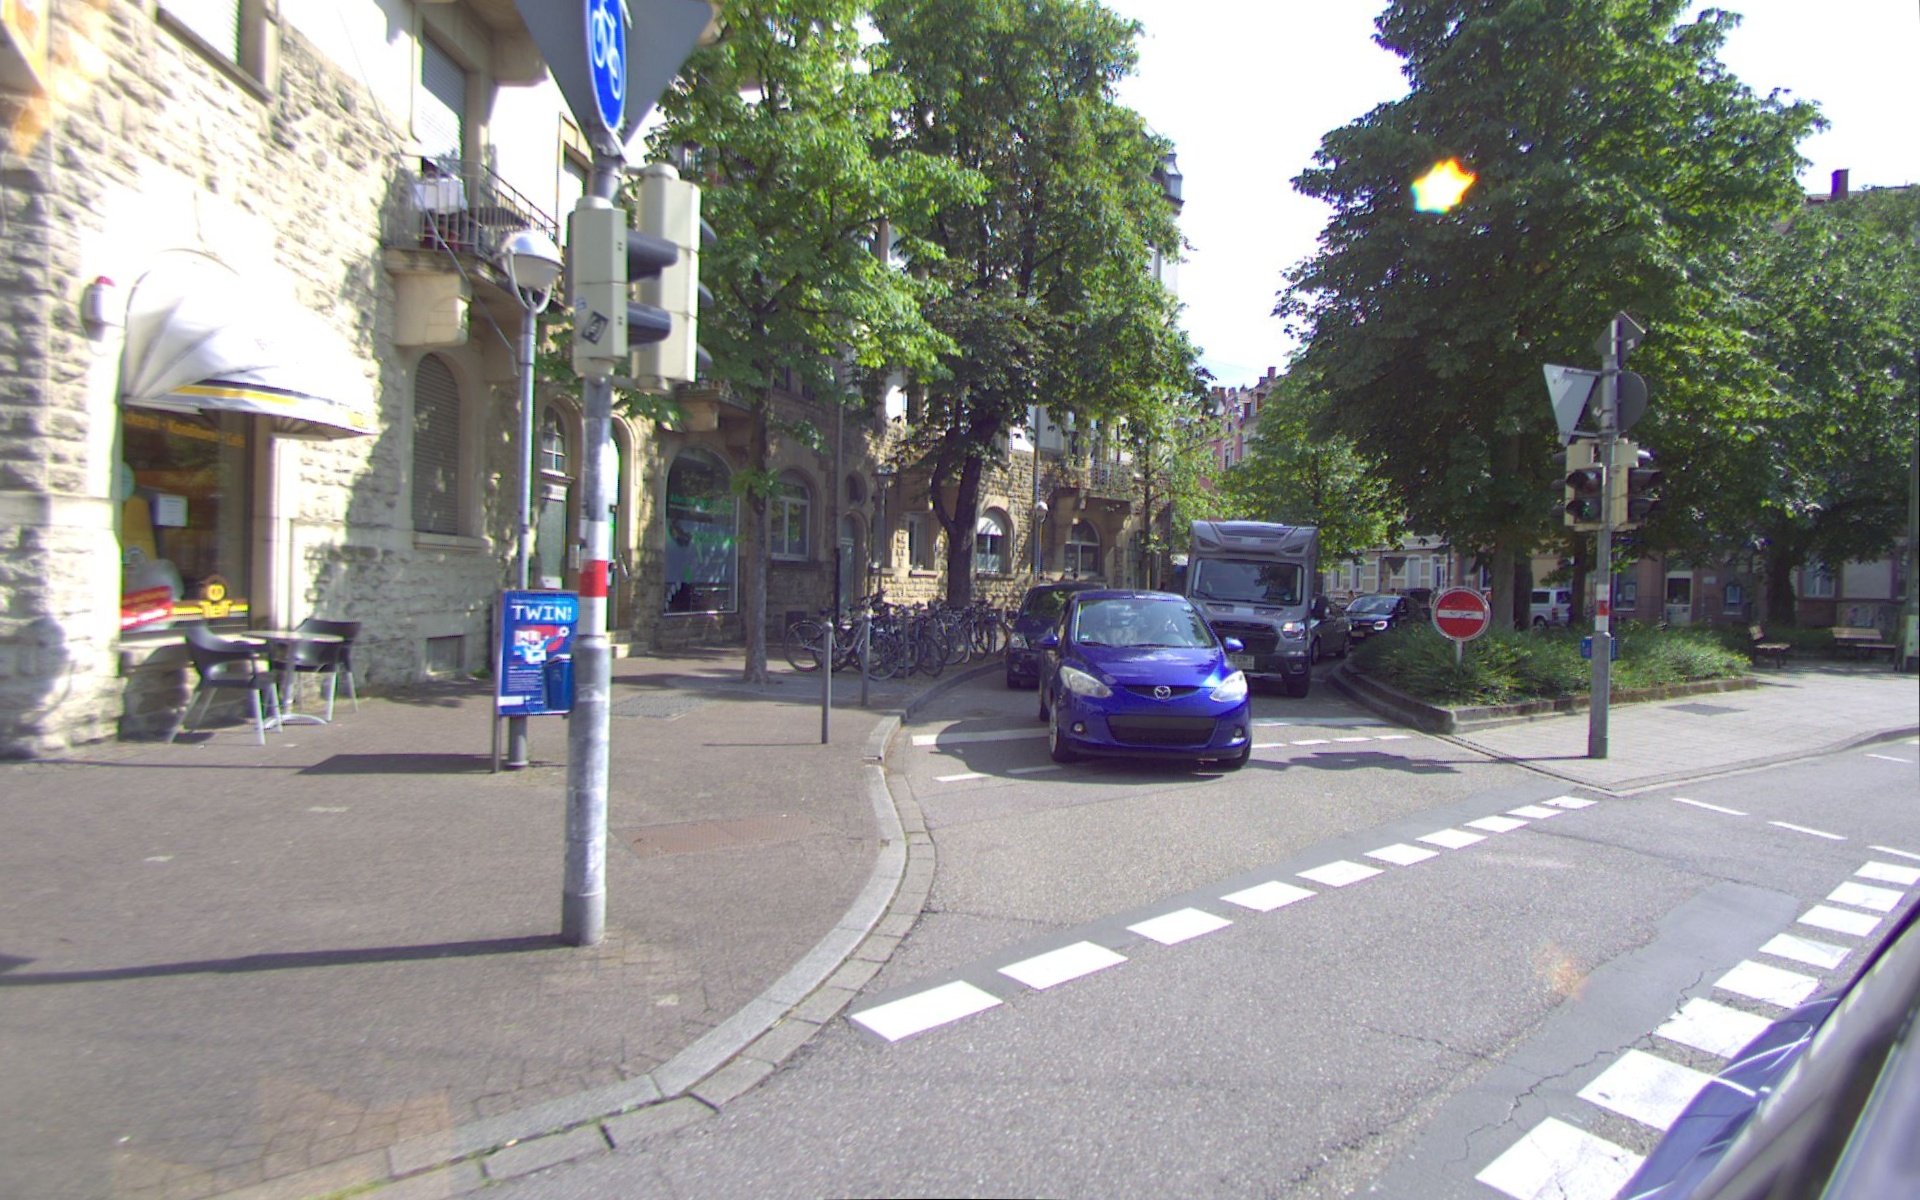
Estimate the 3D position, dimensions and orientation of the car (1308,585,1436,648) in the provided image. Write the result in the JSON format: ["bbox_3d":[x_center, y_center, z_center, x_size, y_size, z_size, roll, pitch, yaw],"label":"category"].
[{"bbox_3d":[11.116,0.408,27.160,1.842,1.519,4.120,2,1,43],"label":"car"}]

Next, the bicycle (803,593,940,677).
[{"bbox_3d":[-1.299,0.510,14.997,1.936,1.155,0.588,2,-1,2],"label":"bicycle"}]

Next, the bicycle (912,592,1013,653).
[{"bbox_3d":[0.052,0.435,20.049,1.936,1.130,0.588,2,-1,2],"label":"bicycle"}]

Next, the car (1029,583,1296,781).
[{"bbox_3d":[1.670,0.587,9.704,1.857,1.436,3.998,2,1,2],"label":"car"}]

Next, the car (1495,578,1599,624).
[{"bbox_3d":[27.257,0.009,47.138,1.800,2.011,4.325,0,1,-10],"label":"car"}]

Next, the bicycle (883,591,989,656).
[{"bbox_3d":[-0.449,0.437,19.115,1.936,1.130,0.588,2,-1,2],"label":"bicycle"}]

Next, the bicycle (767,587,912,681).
[{"bbox_3d":[-1.682,0.473,14.278,1.936,1.225,0.588,2,-1,2],"label":"bicycle"}]

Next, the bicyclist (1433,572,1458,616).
[{"bbox_3d":[18.622,-0.228,38.832,0.496,1.619,0.701,3,-1,-4],"label":"bicyclist"}]

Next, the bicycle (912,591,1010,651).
[{"bbox_3d":[0.016,0.422,20.649,1.936,1.130,0.588,2,-1,2],"label":"bicycle"}]

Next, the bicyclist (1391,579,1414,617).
[{"bbox_3d":[16.334,-0.073,37.352,0.473,1.422,0.634,0,-1,-34],"label":"bicyclist"}]

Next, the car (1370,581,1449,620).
[{"bbox_3d":[25.376,-0.030,57.269,1.959,2.039,4.325,1,1,-10],"label":"car"}]

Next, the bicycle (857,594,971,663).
[{"bbox_3d":[-0.790,0.493,17.803,1.936,1.130,0.588,2,-1,2],"label":"bicycle"}]

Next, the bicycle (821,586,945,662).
[{"bbox_3d":[-1.230,0.380,16.418,1.936,1.130,0.588,2,-1,2],"label":"bicycle"}]

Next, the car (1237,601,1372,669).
[{"bbox_3d":[8.155,0.746,23.704,1.826,1.387,4.428,2,1,35],"label":"car"}]

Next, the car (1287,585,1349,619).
[{"bbox_3d":[23.481,0.093,66.543,1.959,2.039,4.325,1,1,-10],"label":"car"}]

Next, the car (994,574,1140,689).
[{"bbox_3d":[1.823,0.437,16.049,1.703,1.574,4.094,-1,0,15],"label":"car"}]

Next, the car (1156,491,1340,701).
[{"bbox_3d":[4.999,-0.083,17.413,2.361,2.829,6.636,3,1,17],"label":"car"}]

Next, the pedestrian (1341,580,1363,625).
[{"bbox_3d":[14.940,0.099,38.590,0.523,1.722,0.561,0,-1,-34],"label":"pedestrian"}]

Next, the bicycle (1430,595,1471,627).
[{"bbox_3d":[18.603,0.415,38.427,0.512,1.209,1.855,0,0,-6],"label":"bicycle"}]
